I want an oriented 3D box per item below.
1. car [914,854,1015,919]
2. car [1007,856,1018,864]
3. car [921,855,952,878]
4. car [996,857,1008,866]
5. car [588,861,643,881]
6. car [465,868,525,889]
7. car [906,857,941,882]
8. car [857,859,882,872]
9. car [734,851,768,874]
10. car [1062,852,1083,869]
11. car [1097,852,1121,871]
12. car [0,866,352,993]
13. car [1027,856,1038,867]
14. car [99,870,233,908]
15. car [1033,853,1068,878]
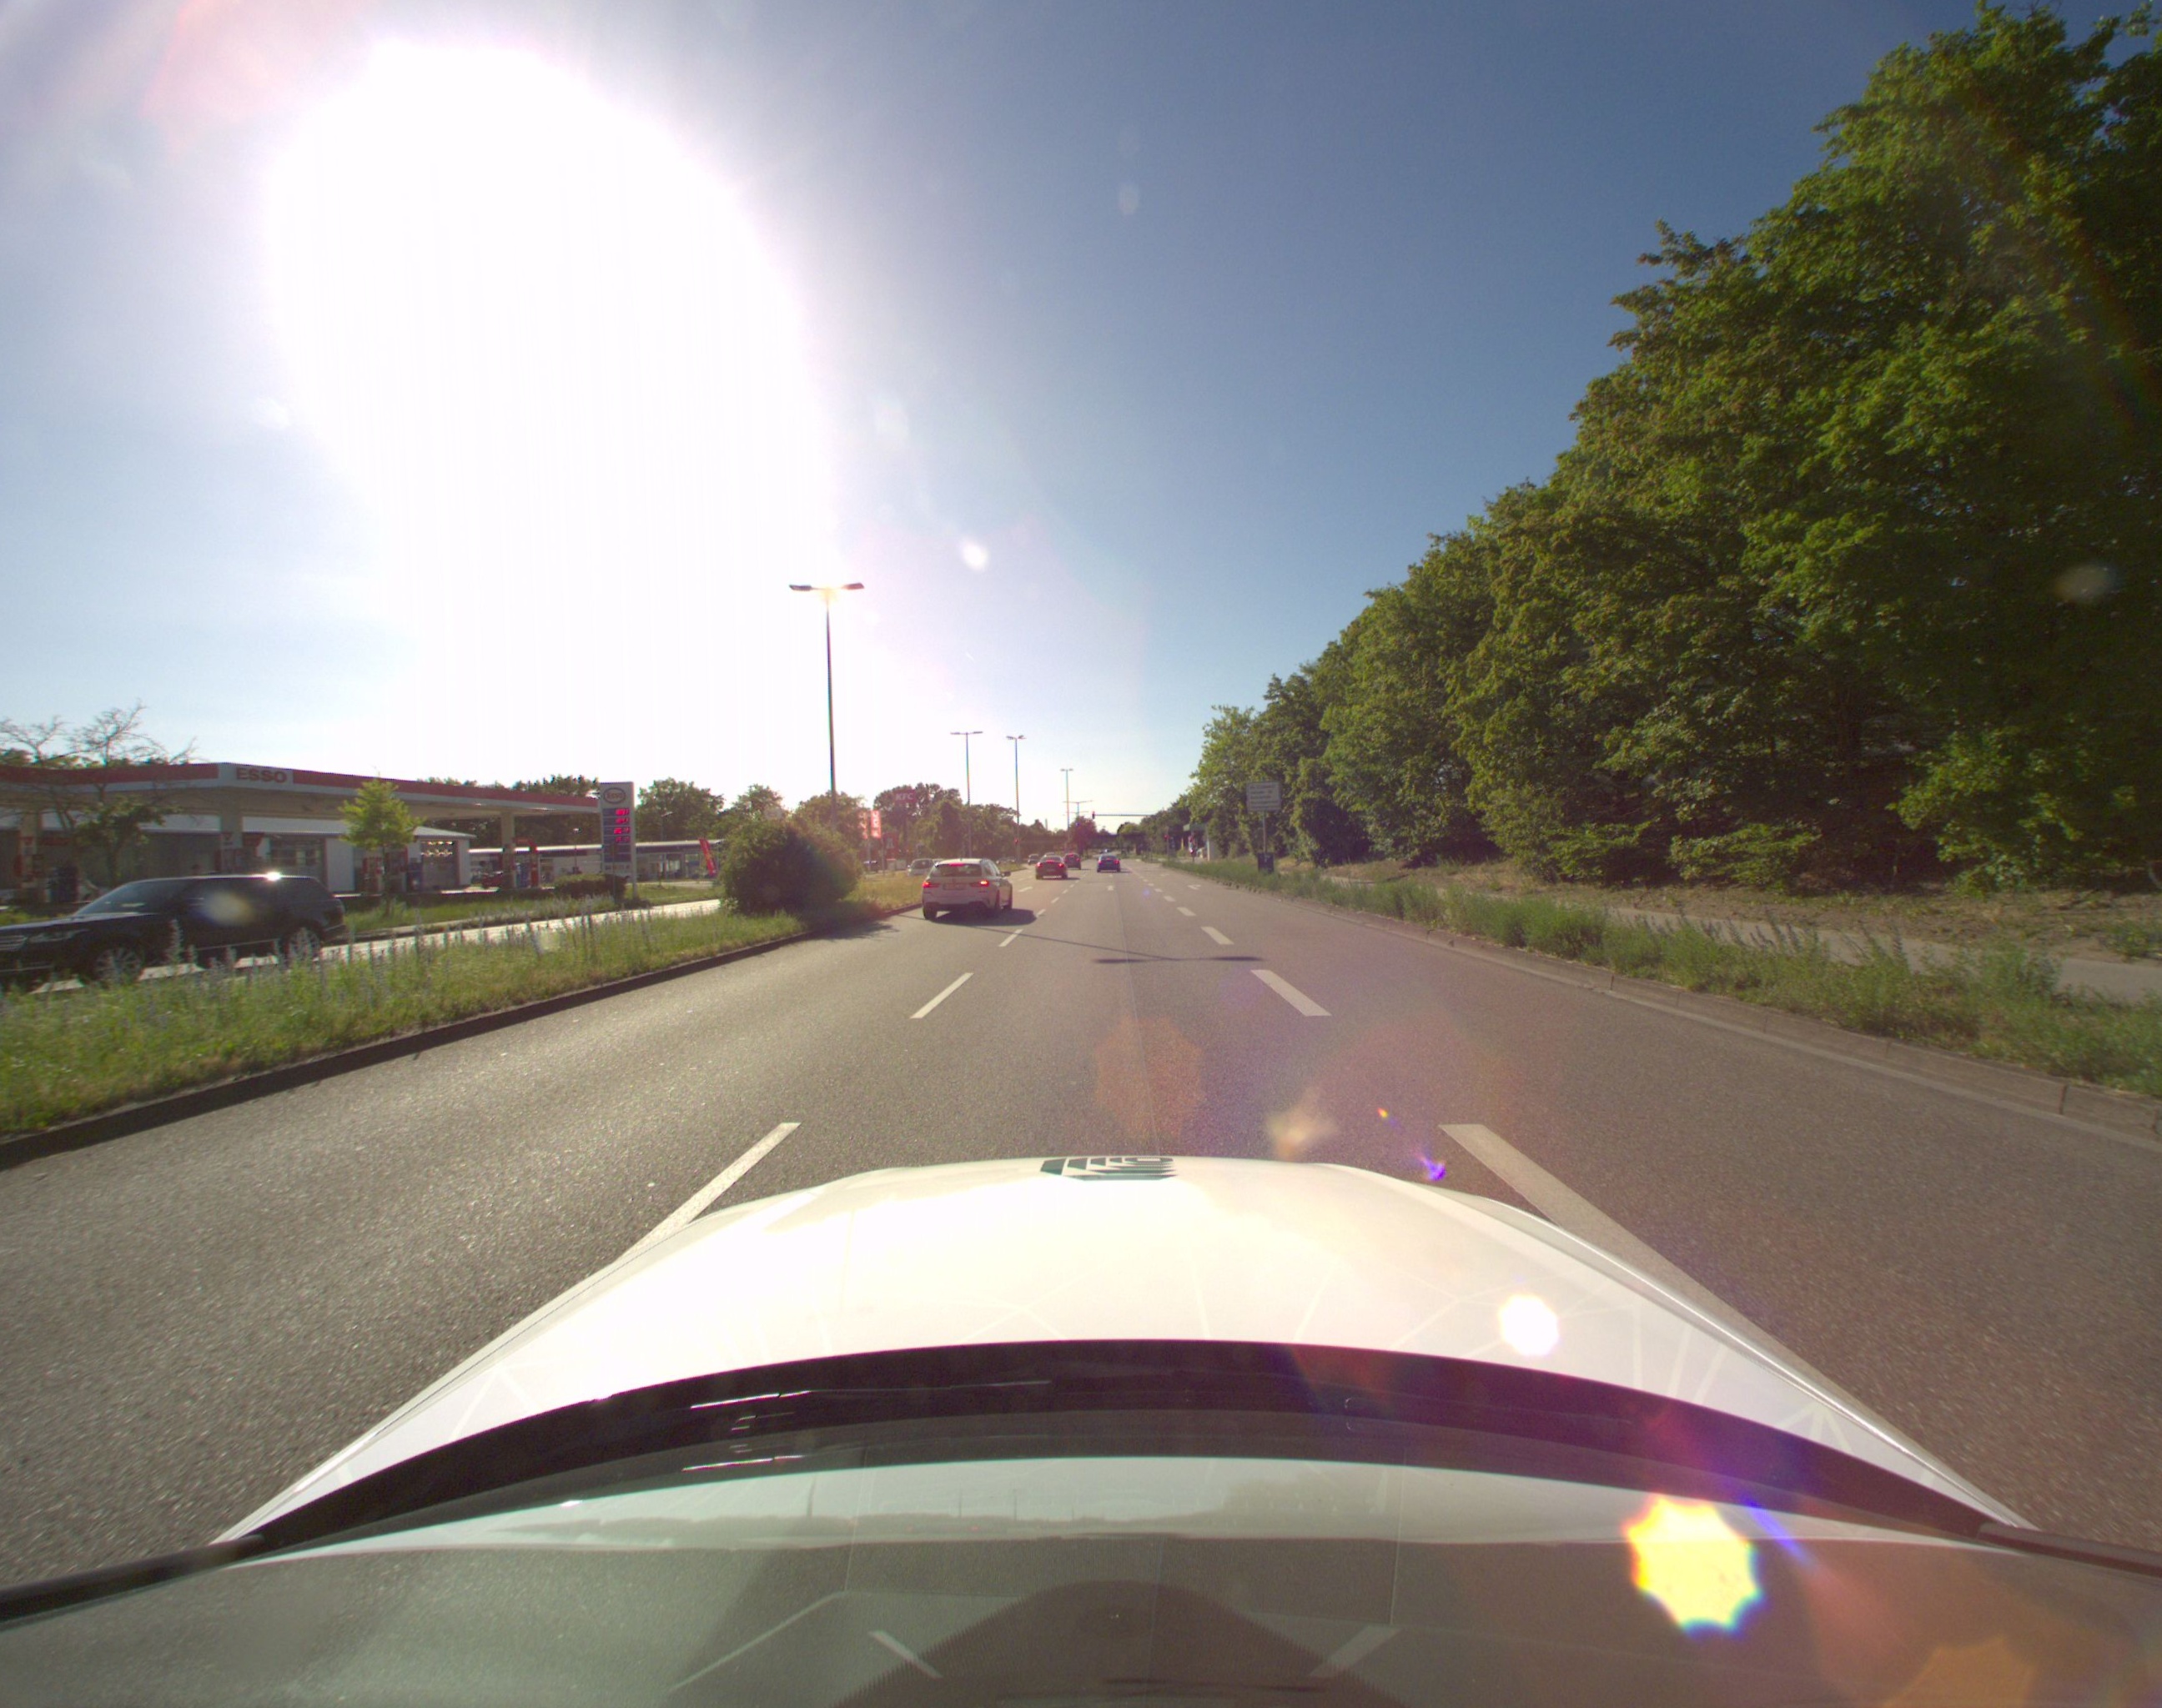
[{"bbox_3d":[-2.885,0.753,21.194,1.855,1.455,4.548,0,0,1],"label":"car"},{"bbox_3d":[-13.518,1.192,160.831,1.697,1.402,3.725,-2,0,2],"label":"car"},{"bbox_3d":[-10.948,0.923,61.869,1.529,1.623,3.673,-1,0,2],"label":"car"},{"bbox_3d":[-14.194,1.347,147.084,1.697,1.402,3.725,-1,0,2],"label":"car"},{"bbox_3d":[-47.059,1.744,82.385,4.371,1.842,1.999,-1,0,-1],"label":"car"},{"bbox_3d":[-50.067,2.065,69.682,1.803,1.550,4.297,-1,0,3],"label":"car"},{"bbox_3d":[-10.366,1.014,53.655,1.487,1.508,3.488,-1,0,2],"label":"car"},{"bbox_3d":[-31.392,1.680,120.623,1.938,1.783,4.037,-1,0,-42],"label":"car"},{"bbox_3d":[-34.416,0.855,85.019,1.812,2.209,4.001,-2,0,1],"label":"car"},{"bbox_3d":[-0.785,0.613,80.103,1.855,1.565,4.549,-1,0,2],"label":"car"},{"bbox_3d":[2.259,0.586,66.557,1.855,1.499,4.338,-1,0,2],"label":"car"},{"bbox_3d":[-16.444,1.234,14.898,1.733,1.802,4.674,-4,0,2],"label":"car"},{"bbox_3d":[-8.027,1.236,135.465,1.529,1.581,3.673,-2,0,2],"label":"car"},{"bbox_3d":[-39.996,1.513,35.644,3.964,1.475,2.005,-2,0,8],"label":"car"},{"bbox_3d":[-1.864,0.696,51.110,1.855,1.455,4.549,-2,0,2],"label":"car"}]
